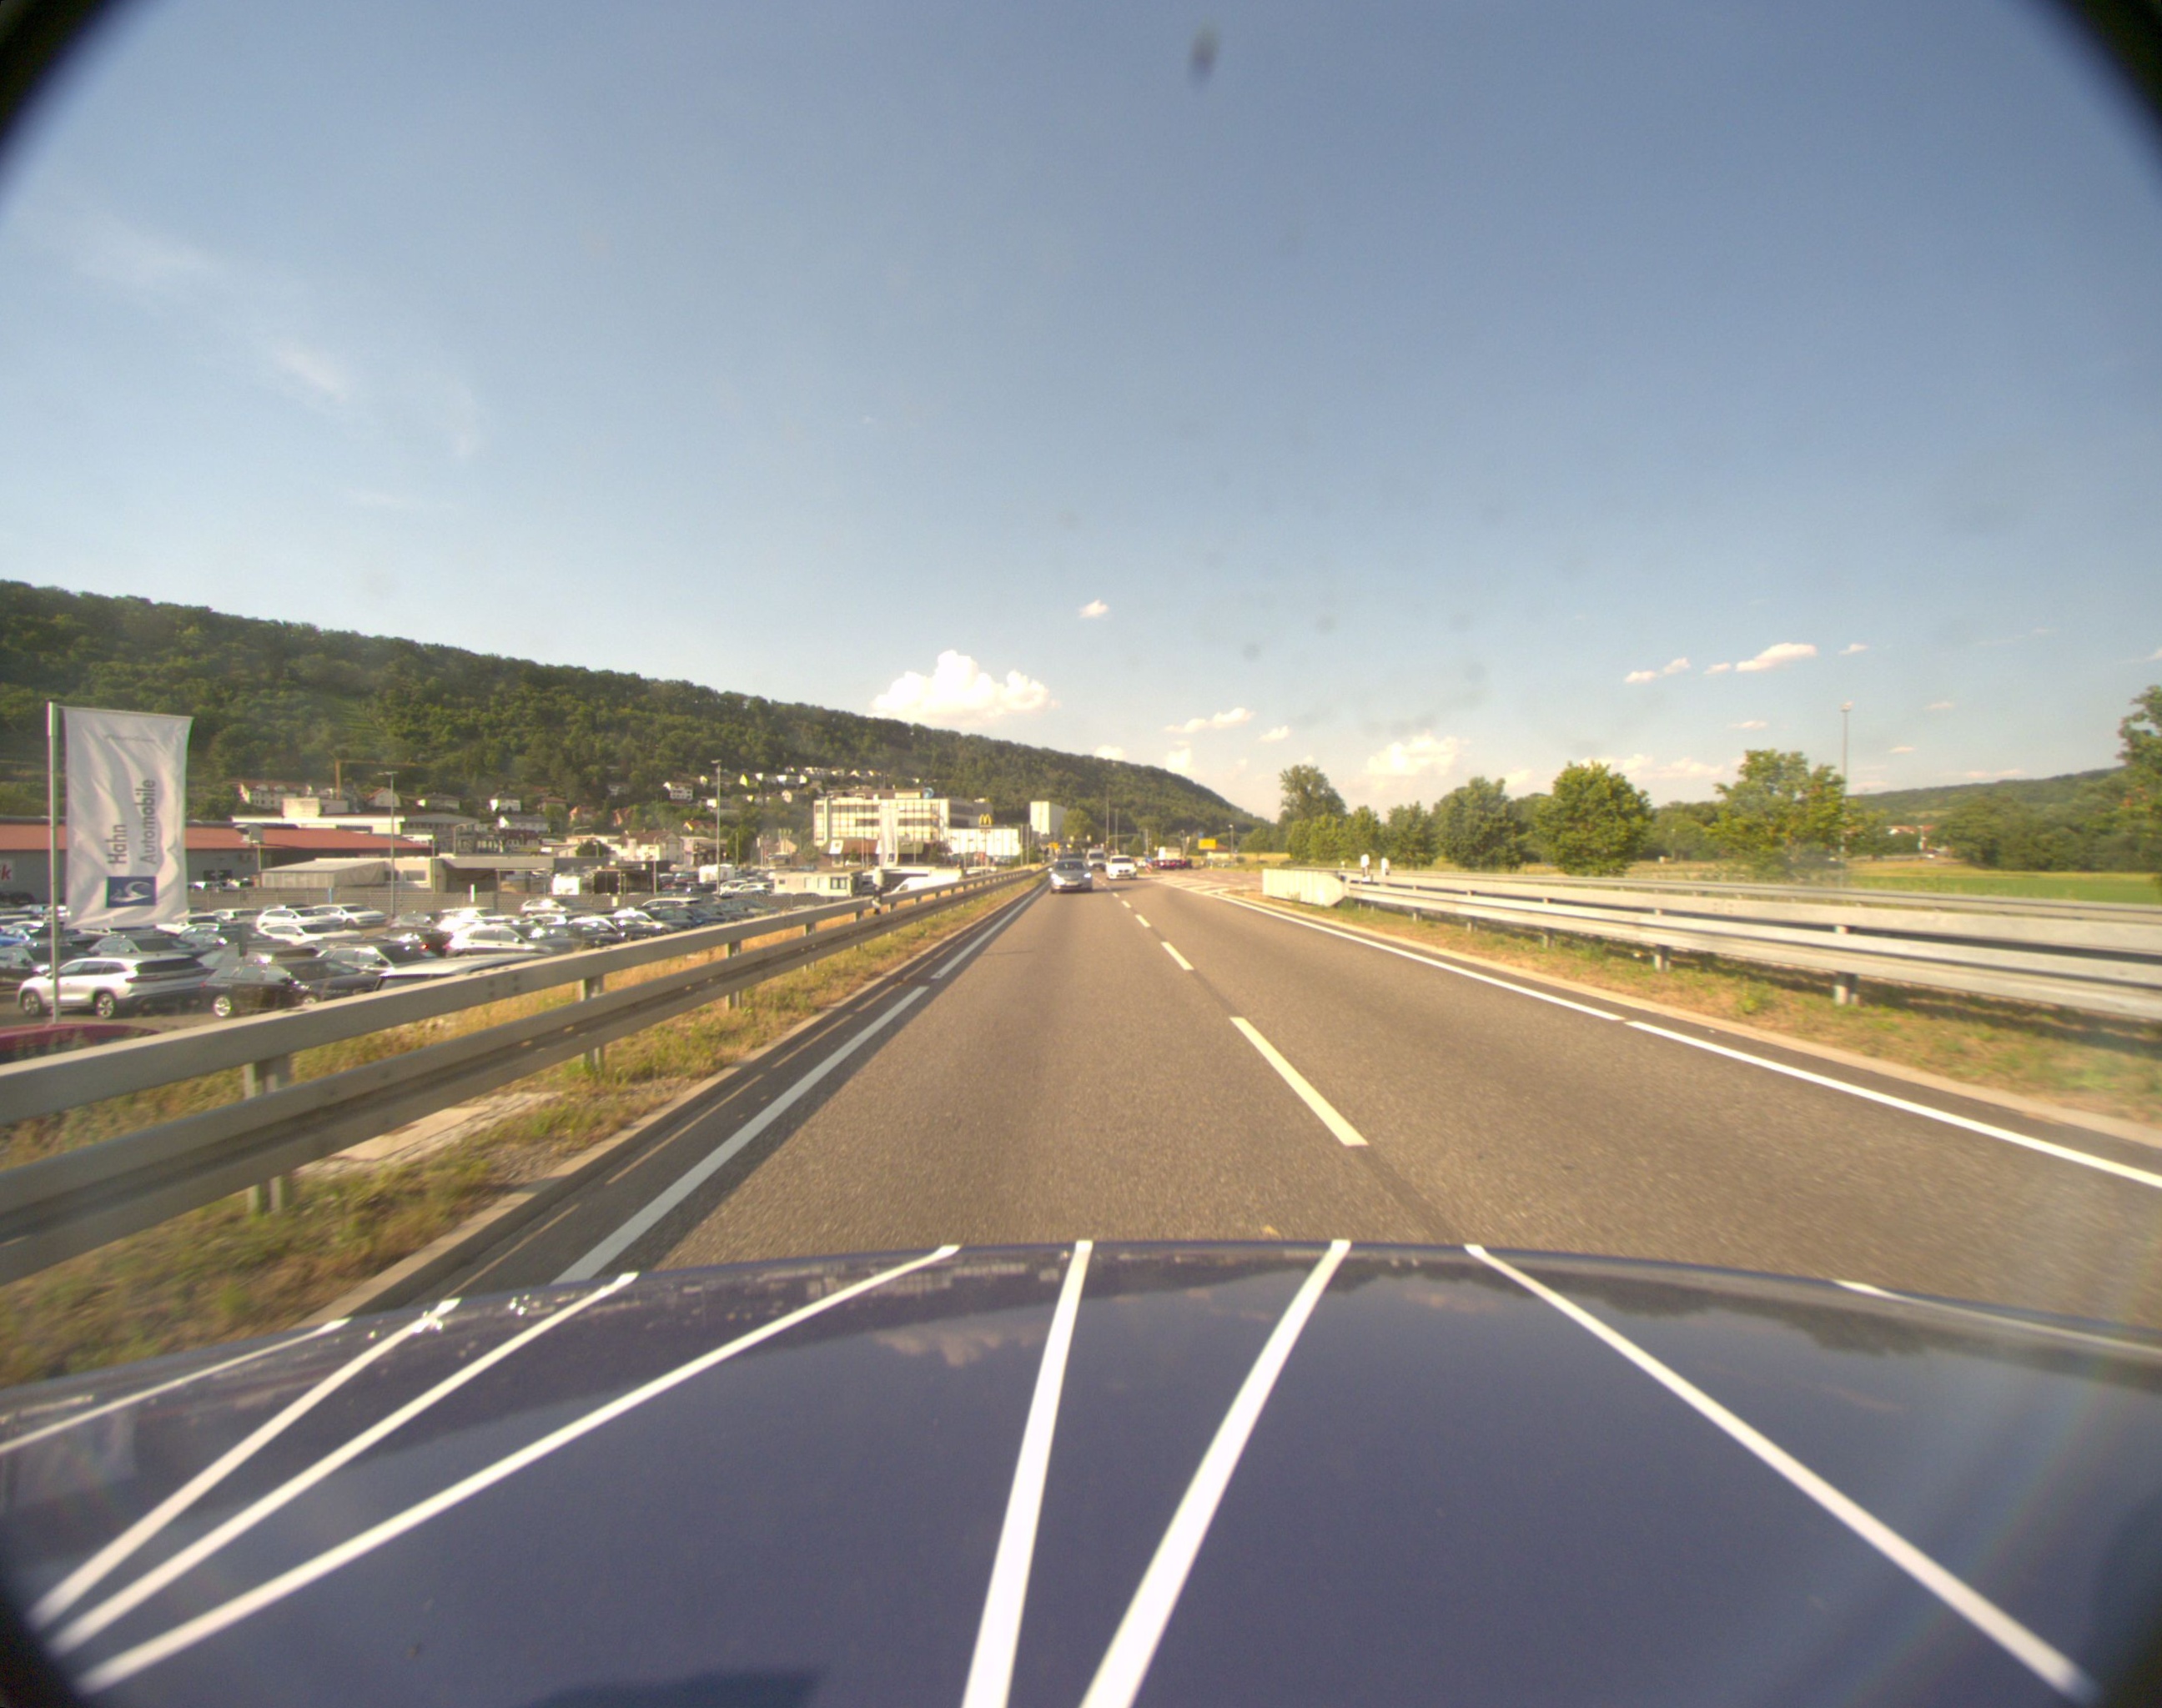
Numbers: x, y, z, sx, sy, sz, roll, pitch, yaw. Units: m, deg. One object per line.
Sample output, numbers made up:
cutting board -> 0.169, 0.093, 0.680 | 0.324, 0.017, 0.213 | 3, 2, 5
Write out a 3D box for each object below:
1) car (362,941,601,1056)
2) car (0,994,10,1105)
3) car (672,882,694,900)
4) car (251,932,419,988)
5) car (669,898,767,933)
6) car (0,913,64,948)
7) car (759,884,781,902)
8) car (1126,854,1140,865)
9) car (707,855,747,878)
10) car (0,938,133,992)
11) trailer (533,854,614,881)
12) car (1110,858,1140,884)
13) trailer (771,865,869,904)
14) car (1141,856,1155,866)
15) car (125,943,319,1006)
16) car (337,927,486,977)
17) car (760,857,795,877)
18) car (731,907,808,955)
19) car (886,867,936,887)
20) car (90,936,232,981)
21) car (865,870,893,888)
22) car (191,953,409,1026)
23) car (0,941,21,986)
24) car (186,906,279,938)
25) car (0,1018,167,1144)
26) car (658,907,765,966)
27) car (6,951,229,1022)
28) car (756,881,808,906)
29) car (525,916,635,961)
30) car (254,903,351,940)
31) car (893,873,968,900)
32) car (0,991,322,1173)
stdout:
car -> -13.318, 3.118, 17.375 | 1.885, 1.616, 4.727 | -2, 1, -4
car -> -20.259, 3.493, 11.203 | 1.883, 1.919, 4.733 | -2, 1, 11
car -> -39.543, 3.649, 75.568 | 1.683, 1.561, 3.768 | -2, 1, -25
car -> -26.447, 3.749, 27.000 | 4.433, 1.627, 1.887 | -2, 1, 8
car -> -19.697, 3.324, 41.318 | 4.433, 1.627, 1.887 | -2, 1, 8
car -> -60.105, 4.309, 43.010 | 1.889, 1.627, 4.428 | -3, 1, -38
car -> -30.673, 3.809, 74.884 | 1.683, 1.561, 3.767 | -2, 1, -27
car -> 7.594, 0.863, 112.014 | 1.785, 1.511, 3.999 | 1, 1, 0
car -> -41.365, 1.419, 88.945 | 1.759, 2.535, 5.470 | -2, 1, 4
car -> -35.711, 3.832, 26.398 | 3.993, 1.556, 1.783 | -2, 1, 12
trailer -> -42.195, 1.091, 63.409 | 1.998, 2.011, 6.286 | -2, 1, 6
car -> 2.844, 1.082, 49.720 | 1.825, 1.551, 4.000 | -2, 1, 1
trailer -> -24.277, 2.823, 70.960 | 7.896, 3.303, 3.359 | -2, 1, 5
car -> 10.705, 1.087, 121.364 | 1.706, 1.397, 5.080 | 1, 1, -1
car -> -27.210, 3.801, 24.141 | 4.433, 1.627, 1.887 | -2, 1, 8
car -> -26.081, 3.796, 29.673 | 4.433, 1.627, 1.887 | -2, 1, 8
car -> -37.148, 1.515, 93.145 | 1.759, 2.233, 5.298 | -2, 1, 4
car -> -13.886, 3.384, 34.166 | 1.742, 1.616, 4.310 | -2, 1, -2
car -> -16.764, 2.221, 75.223 | 4.332, 1.740, 2.131 | -2, 1, 2
car -> -35.014, 3.960, 28.961 | 3.993, 1.447, 1.782 | -2, 1, 13
car -> -24.197, 3.004, 91.153 | 1.759, 1.940, 4.828 | -2, 1, 4
car -> -21.497, 3.720, 21.012 | 4.433, 1.627, 1.887 | -2, 1, 8
car -> -41.220, 4.083, 27.796 | 3.480, 1.565, 1.630 | -2, 1, 15
car -> -50.912, 4.079, 45.624 | 3.959, 1.631, 1.758 | -2, 1, 8
car -> -17.086, 3.657, 11.387 | 1.673, 1.463, 4.002 | -2, 1, 7
car -> -13.430, 2.941, 27.942 | 1.741, 1.616, 4.311 | -2, 1, 0
car -> -27.223, 3.718, 21.541 | 4.433, 1.627, 1.887 | -2, 1, 8
car -> -24.023, 3.173, 61.262 | 1.970, 1.691, 4.499 | -2, 1, 7
car -> -20.454, 3.449, 31.079 | 3.482, 1.565, 1.630 | -2, 1, 8
car -> -45.809, 3.957, 44.728 | 3.994, 1.849, 1.927 | -2, 1, 8
car -> -12.797, 2.722, 64.789 | 5.895, 2.002, 2.000 | -2, 1, 3
car -> -14.735, 3.313, 11.267 | 1.883, 1.616, 4.731 | -2, 1, 6
